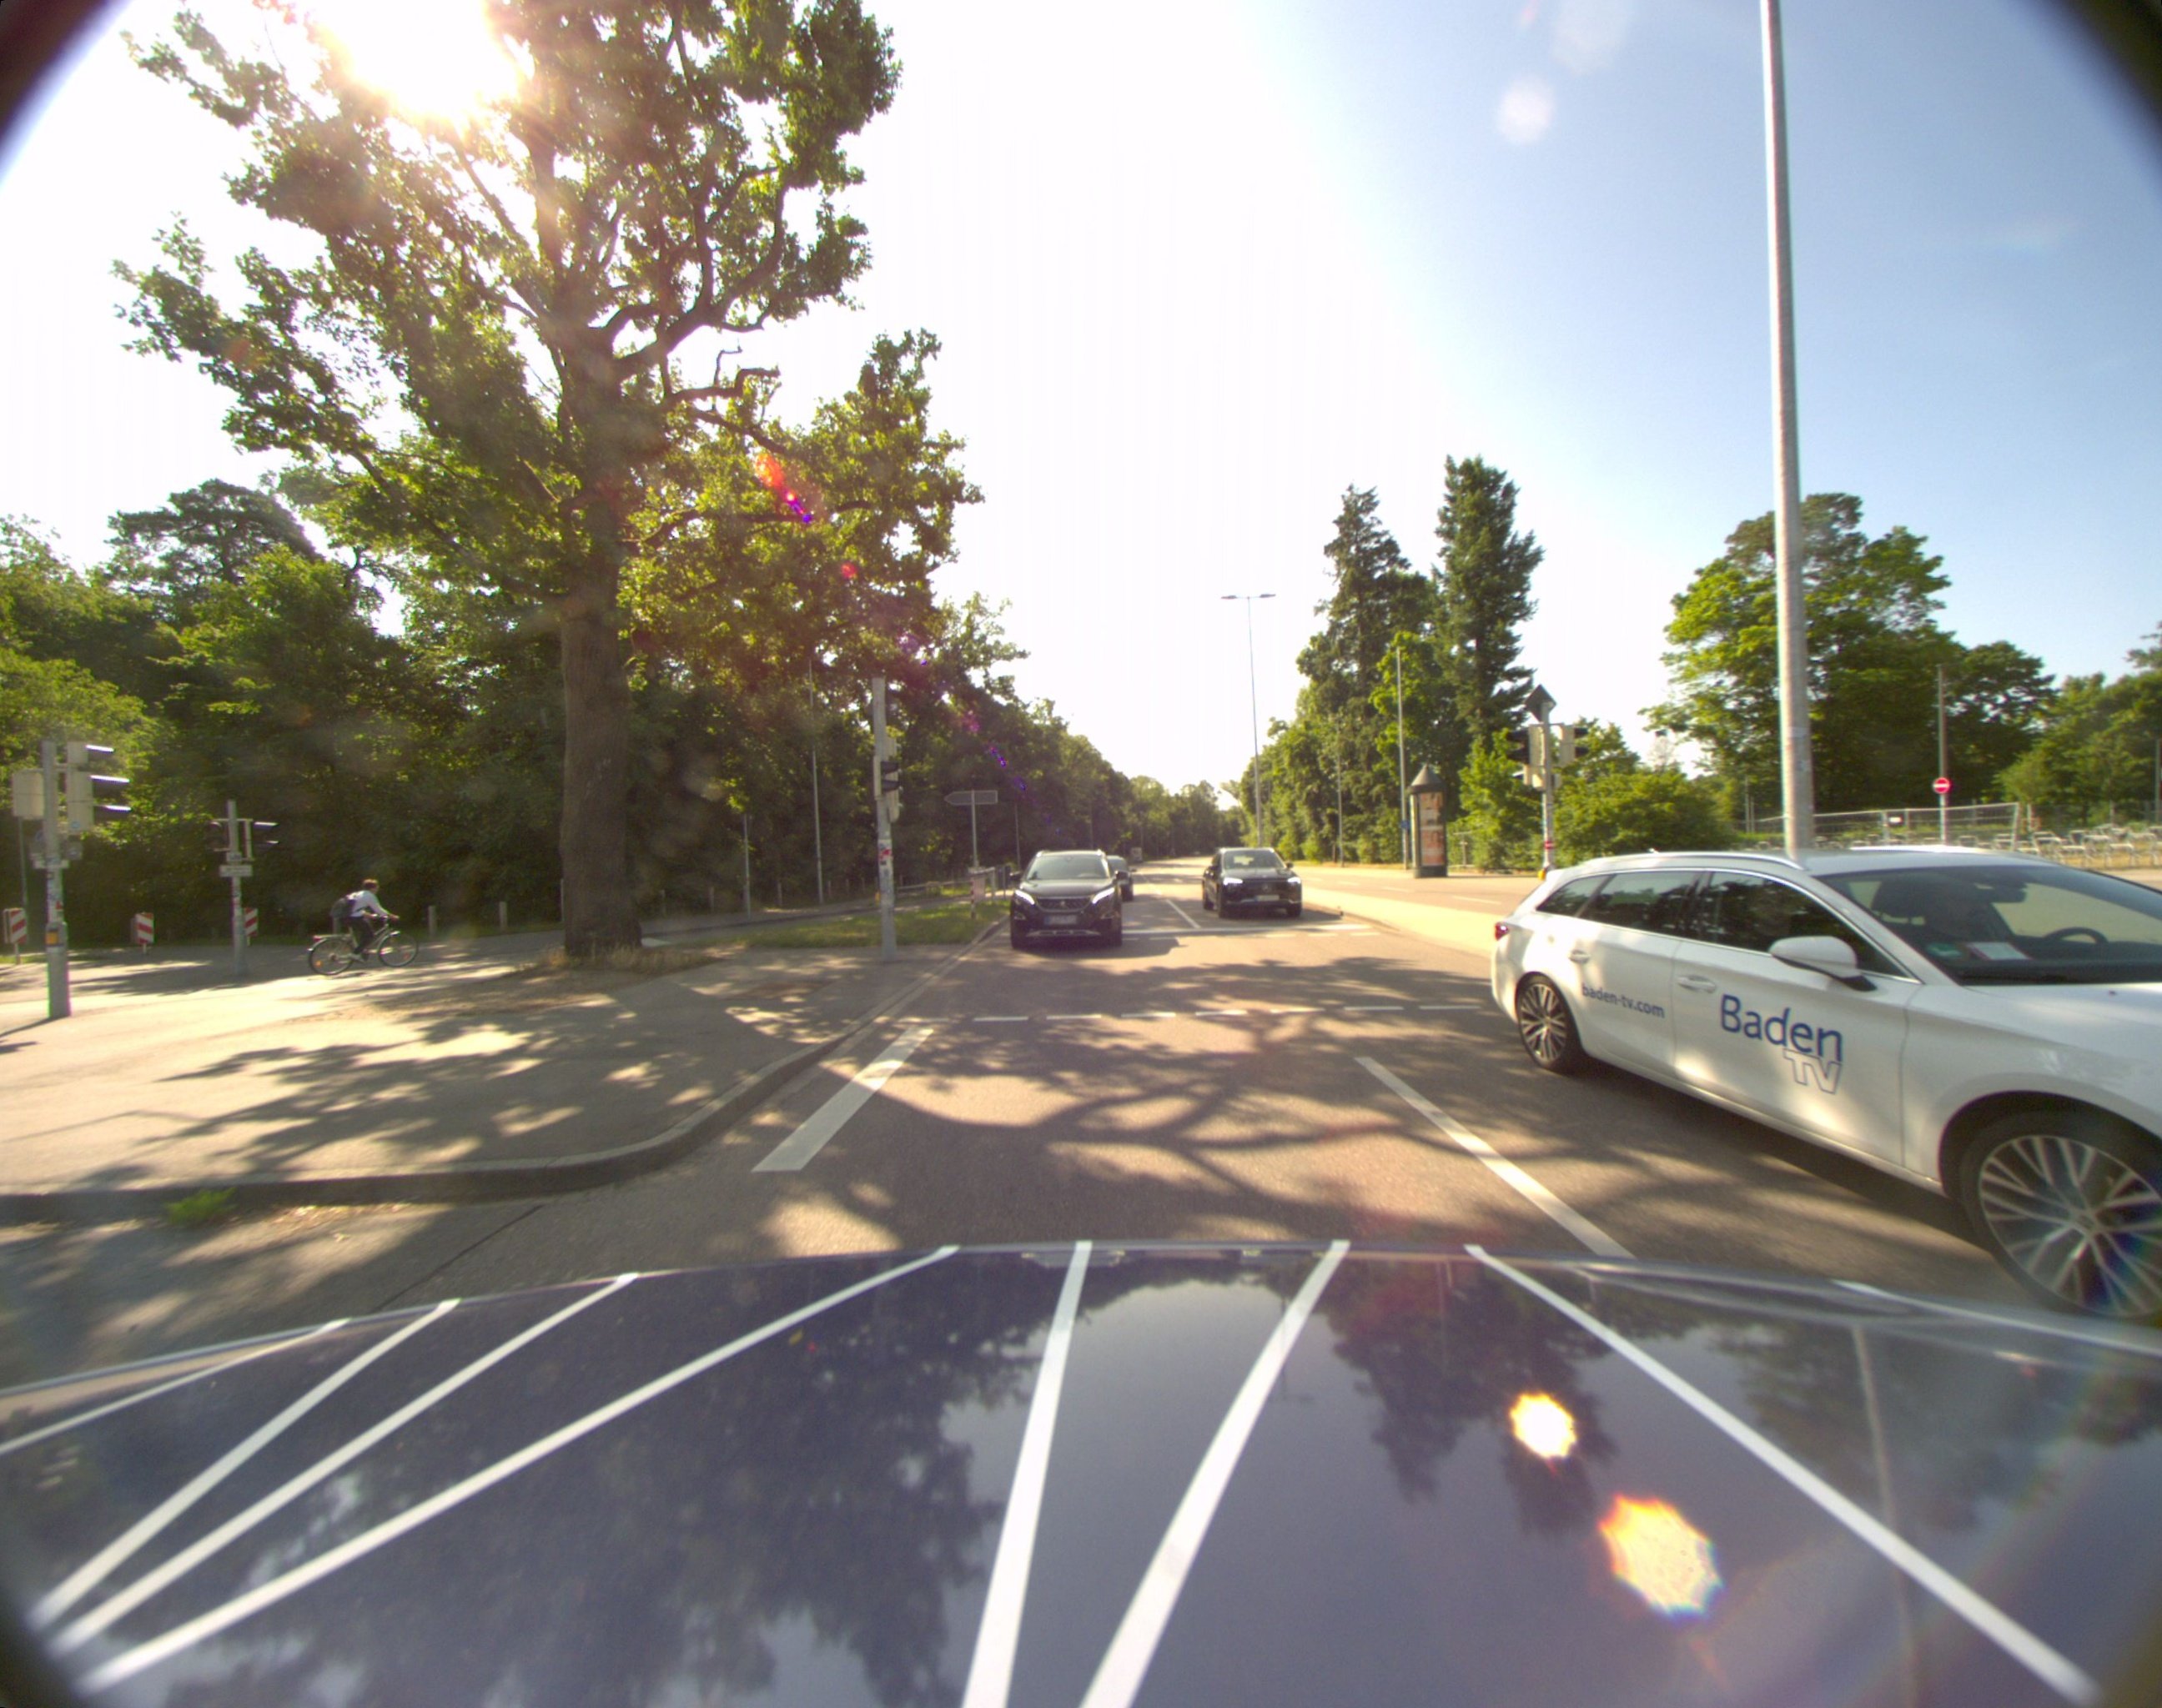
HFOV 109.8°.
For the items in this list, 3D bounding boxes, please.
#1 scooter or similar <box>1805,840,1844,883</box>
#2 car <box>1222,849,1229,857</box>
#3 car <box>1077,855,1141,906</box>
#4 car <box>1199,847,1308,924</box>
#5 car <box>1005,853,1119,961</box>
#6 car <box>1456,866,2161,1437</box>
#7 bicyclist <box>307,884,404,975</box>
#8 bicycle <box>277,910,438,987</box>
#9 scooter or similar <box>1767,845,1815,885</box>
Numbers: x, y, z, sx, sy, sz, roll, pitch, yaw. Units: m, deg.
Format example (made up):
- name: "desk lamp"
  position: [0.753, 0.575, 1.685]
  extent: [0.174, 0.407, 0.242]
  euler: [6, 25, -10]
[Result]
- name: "scooter or similar"
  position: [21.958, 0.208, 22.431]
  extent: [1.082, 1.215, 0.395]
  euler: [-3, 1, -22]
- name: "car"
  position: [39.050, -0.285, 205.123]
  extent: [1.875, 1.849, 4.003]
  euler: [-2, 0, 11]
- name: "car"
  position: [0.900, 0.822, 25.675]
  extent: [1.933, 1.499, 4.000]
  euler: [-2, 0, 1]
- name: "car"
  position: [4.049, 0.665, 18.517]
  extent: [1.809, 1.587, 4.273]
  euler: [-2, 1, 2]
- name: "car"
  position: [-0.203, 0.816, 13.816]
  extent: [1.702, 1.581, 4.319]
  euler: [-2, 0, 2]
- name: "car"
  position: [3.761, 0.825, 3.551]
  extent: [1.729, 1.418, 4.720]
  euler: [-1, 0, 1]
- name: "bicyclist"
  position: [-13.832, 1.414, 14.507]
  extent: [0.725, 1.629, 1.059]
  euler: [-2, 1, 17]
- name: "bicycle"
  position: [-13.786, 1.754, 14.574]
  extent: [0.725, 1.192, 2.103]
  euler: [-2, 0, 17]
- name: "scooter or similar"
  position: [21.084, 0.322, 22.595]
  extent: [0.395, 1.139, 1.197]
  euler: [-2, 0, 7]
